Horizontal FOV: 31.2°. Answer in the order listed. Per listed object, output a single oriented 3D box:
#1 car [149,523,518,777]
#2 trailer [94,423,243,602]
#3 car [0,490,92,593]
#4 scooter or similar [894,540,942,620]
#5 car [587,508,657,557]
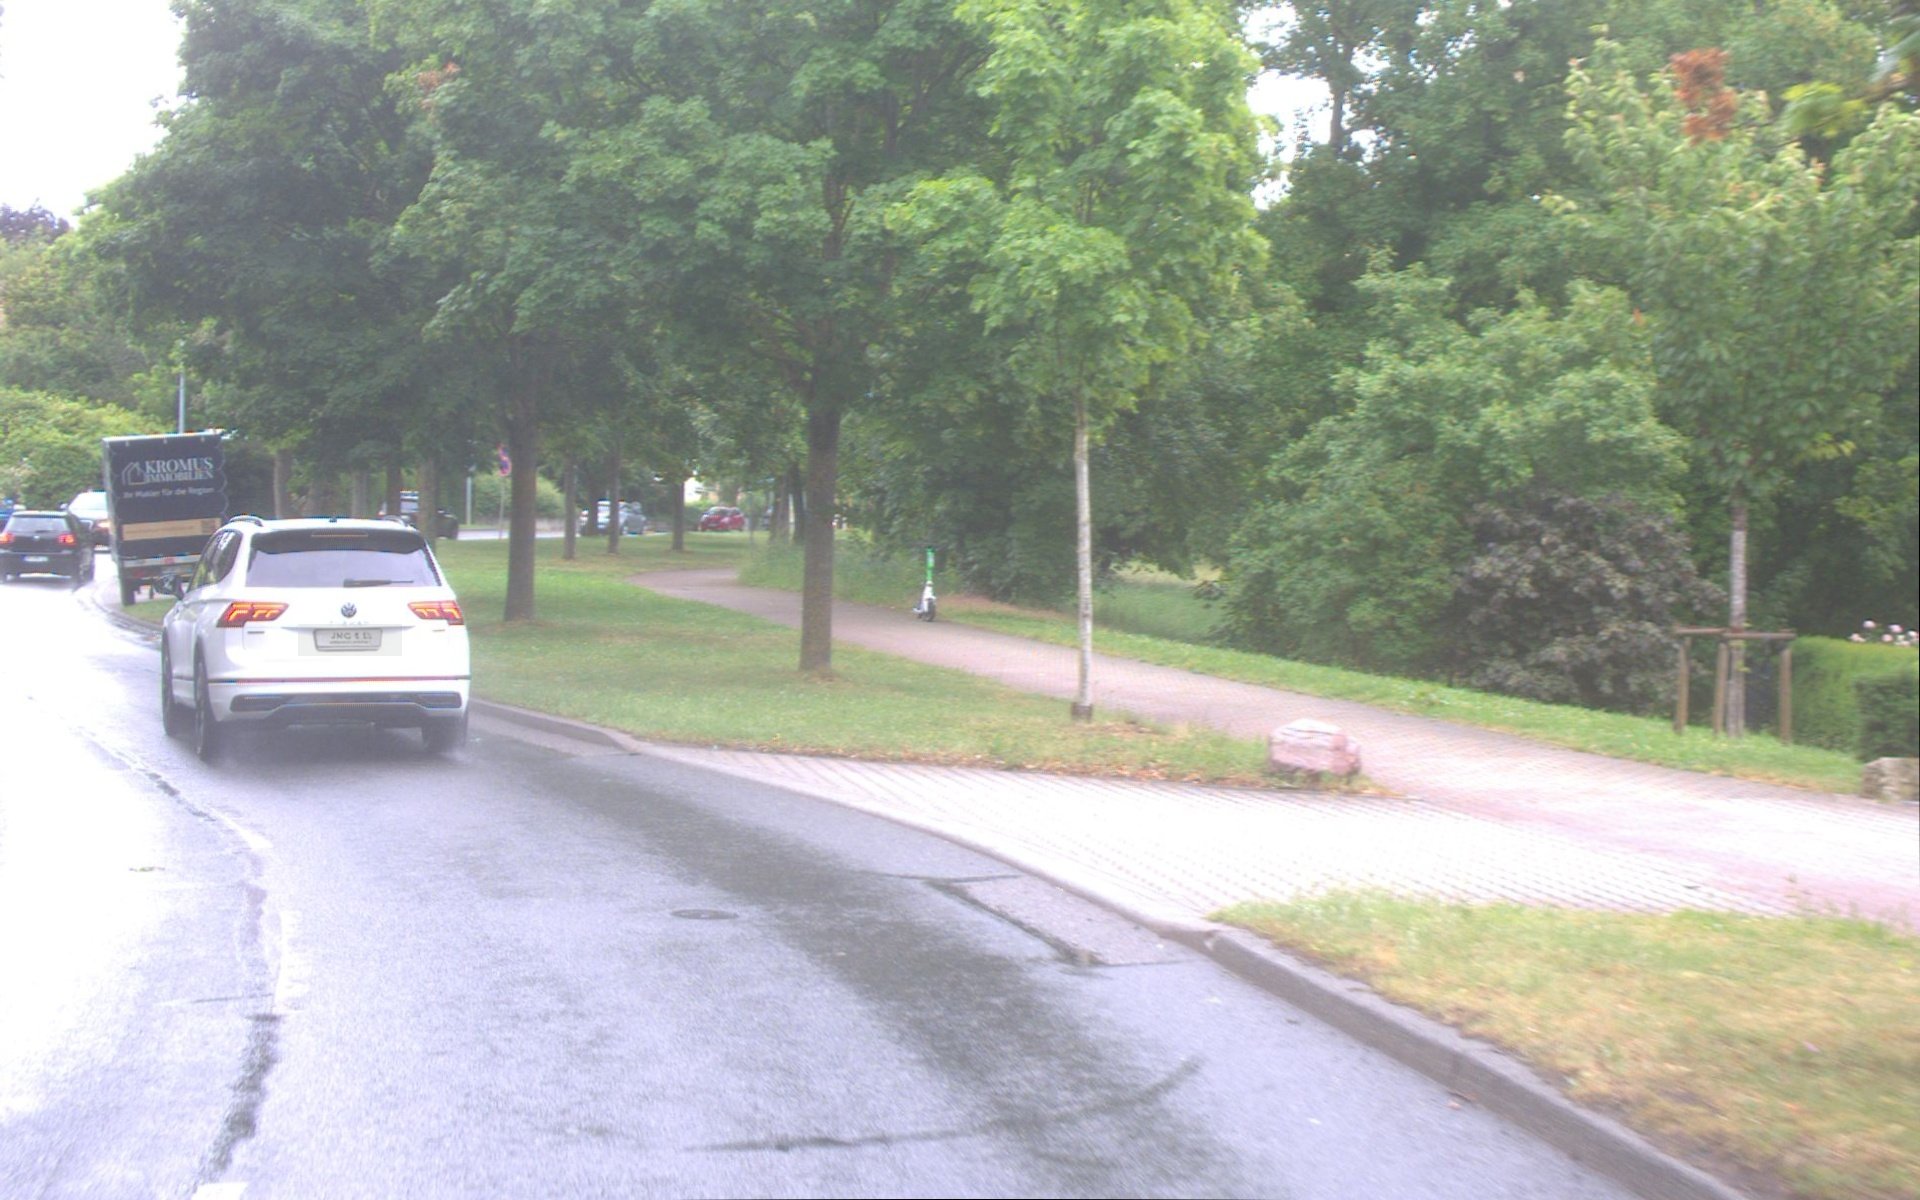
[{"bbox_3d":[-4.613,0.296,24.837,1.973,1.647,4.178,-1,1,-19],"label":"car"},{"bbox_3d":[-13.673,-1.538,59.145,1.993,2.798,5.610,-5,3,-16],"label":"trailer"},{"bbox_3d":[-19.204,-1.233,71.859,1.900,2.007,3.946,3,0,-15],"label":"car"},{"bbox_3d":[-0.629,-0.307,51.238,0.463,1.142,1.301,-1,2,-12],"label":"scooter or similar"},{"bbox_3d":[-13.408,-2.662,136.713,1.994,1.798,3.999,3,0,5],"label":"car"}]
